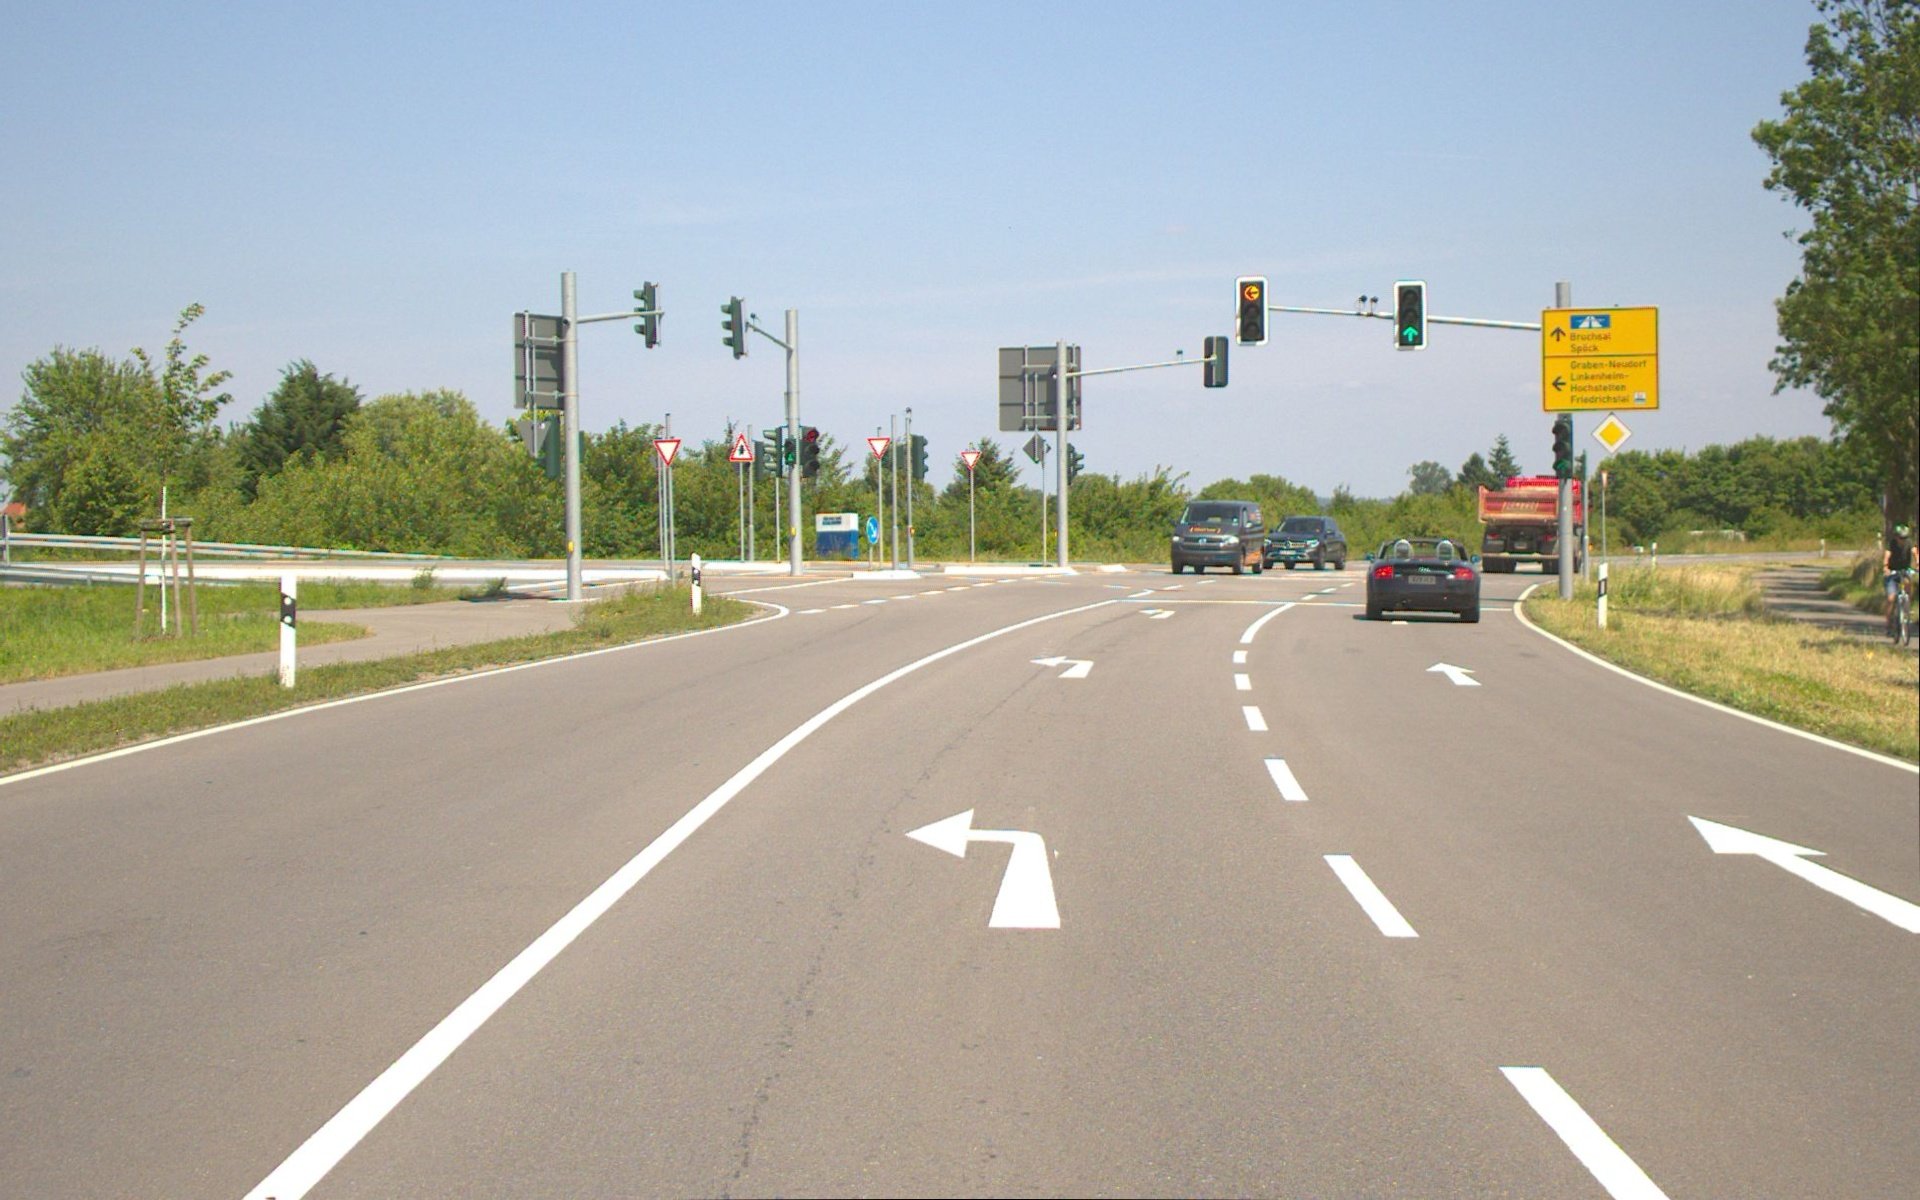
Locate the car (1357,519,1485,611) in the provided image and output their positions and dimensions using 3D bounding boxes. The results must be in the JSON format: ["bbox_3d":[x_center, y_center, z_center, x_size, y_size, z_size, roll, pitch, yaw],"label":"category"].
[{"bbox_3d":[7.319,-0.531,54.344,1.748,1.371,3.677,1,0,11],"label":"car"}]

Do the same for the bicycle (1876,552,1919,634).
[{"bbox_3d":[14.092,-0.110,51.494,0.606,1.172,2.050,4,2,14],"label":"bicycle"}]

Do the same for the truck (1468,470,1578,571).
[{"bbox_3d":[17.779,-2.441,108.262,2.716,3.042,8.159,0,0,14],"label":"truck"}]

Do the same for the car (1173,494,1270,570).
[{"bbox_3d":[7.040,-1.837,92.148,1.931,1.971,4.682,1,2,12],"label":"car"}]

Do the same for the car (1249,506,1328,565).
[{"bbox_3d":[10.150,-2.007,105.951,1.931,1.733,4.887,1,2,11],"label":"car"}]

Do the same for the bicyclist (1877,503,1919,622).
[{"bbox_3d":[14.129,-0.572,51.526,0.587,1.728,1.171,5,3,14],"label":"bicyclist"}]
